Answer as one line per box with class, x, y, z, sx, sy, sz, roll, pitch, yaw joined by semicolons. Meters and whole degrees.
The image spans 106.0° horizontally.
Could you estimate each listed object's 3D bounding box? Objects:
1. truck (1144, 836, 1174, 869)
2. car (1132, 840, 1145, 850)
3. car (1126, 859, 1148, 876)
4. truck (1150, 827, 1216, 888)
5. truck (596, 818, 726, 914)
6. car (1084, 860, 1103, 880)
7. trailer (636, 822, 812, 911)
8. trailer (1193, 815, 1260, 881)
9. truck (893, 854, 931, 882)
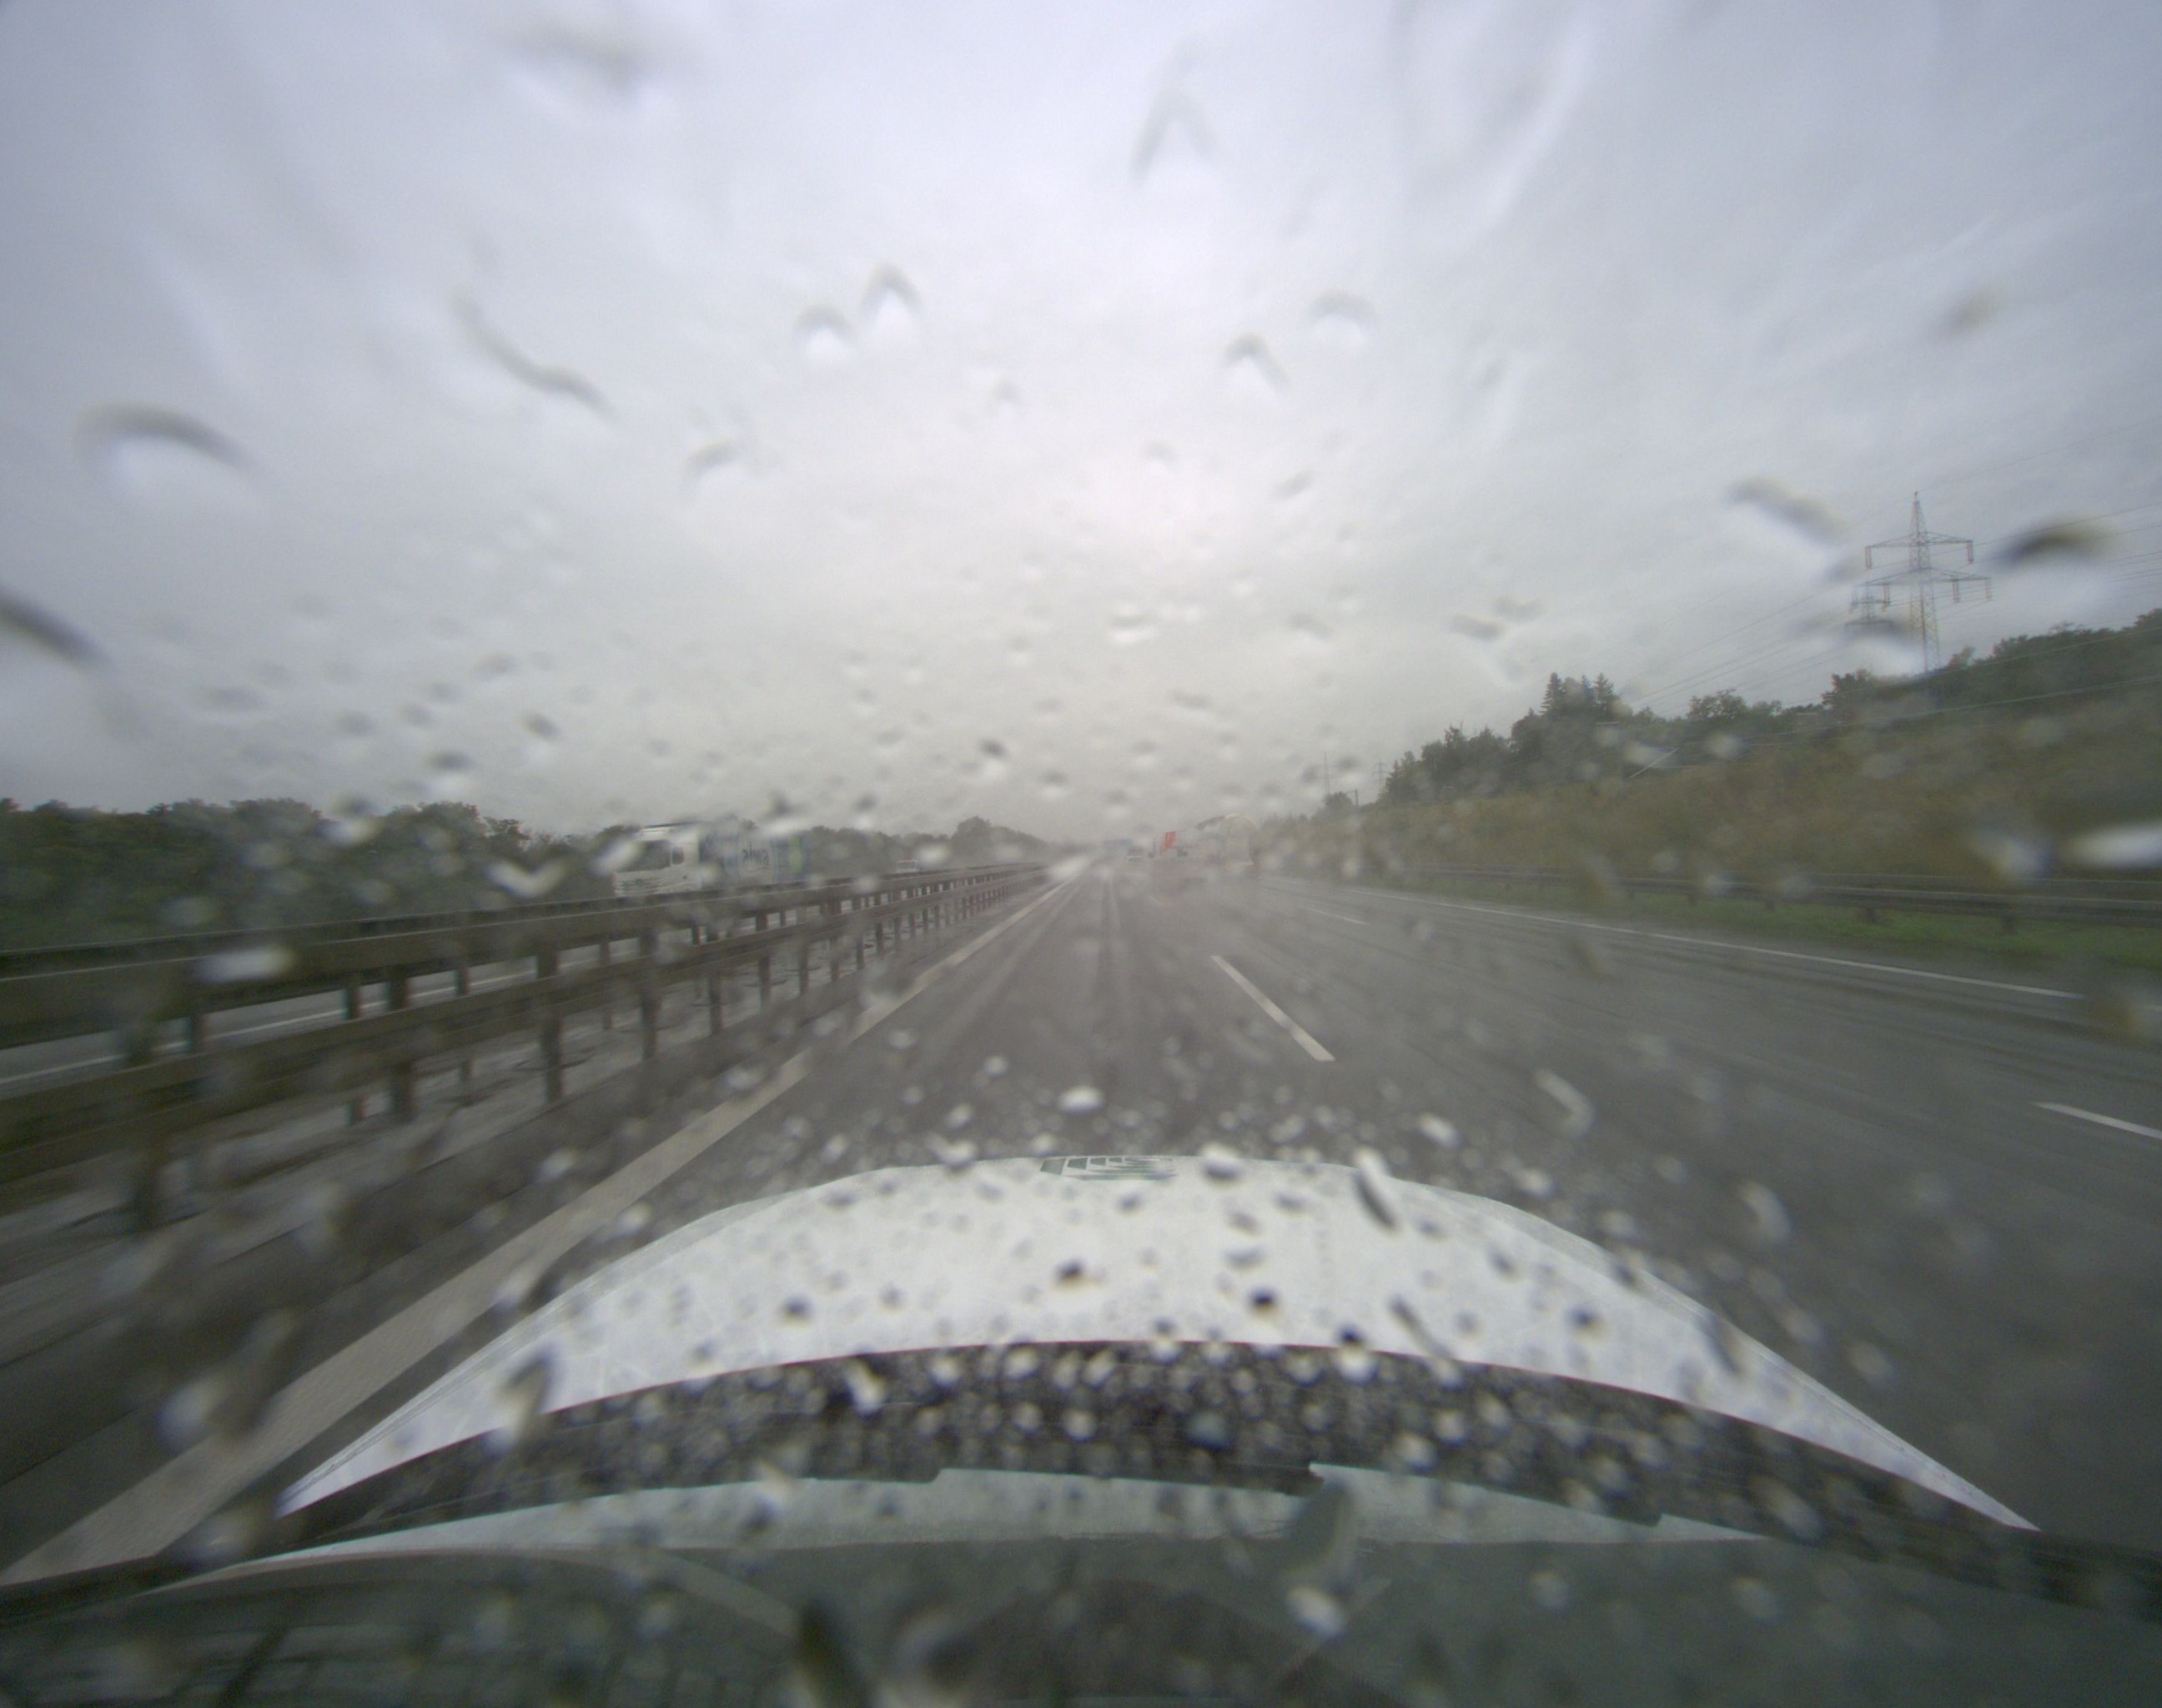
truck;11.761;-0.099;124.277;3.029;4.588;16.349;-1;-1;1
car;12.999;-2.022;184.609;2.778;2.014;4.994;-1;0;1
car;4.522;1.091;66.094;1.600;1.338;3.849;-1;0;1
truck;4.429;0.146;36.328;2.410;2.492;5.562;-1;0;2
truck;-17.906;0.495;35.111;2.612;3.805;5.402;-1;0;2
car;1.158;1.453;76.559;1.695;1.818;3.863;-1;0;2
trailer;-17.716;0.556;42.054;2.623;3.804;13.590;-1;0;2
trailer;9.253;-0.327;53.112;2.488;3.882;11.067;-1;0;1
truck;-16.566;1.381;80.273;2.319;2.619;6.265;-1;0;1
